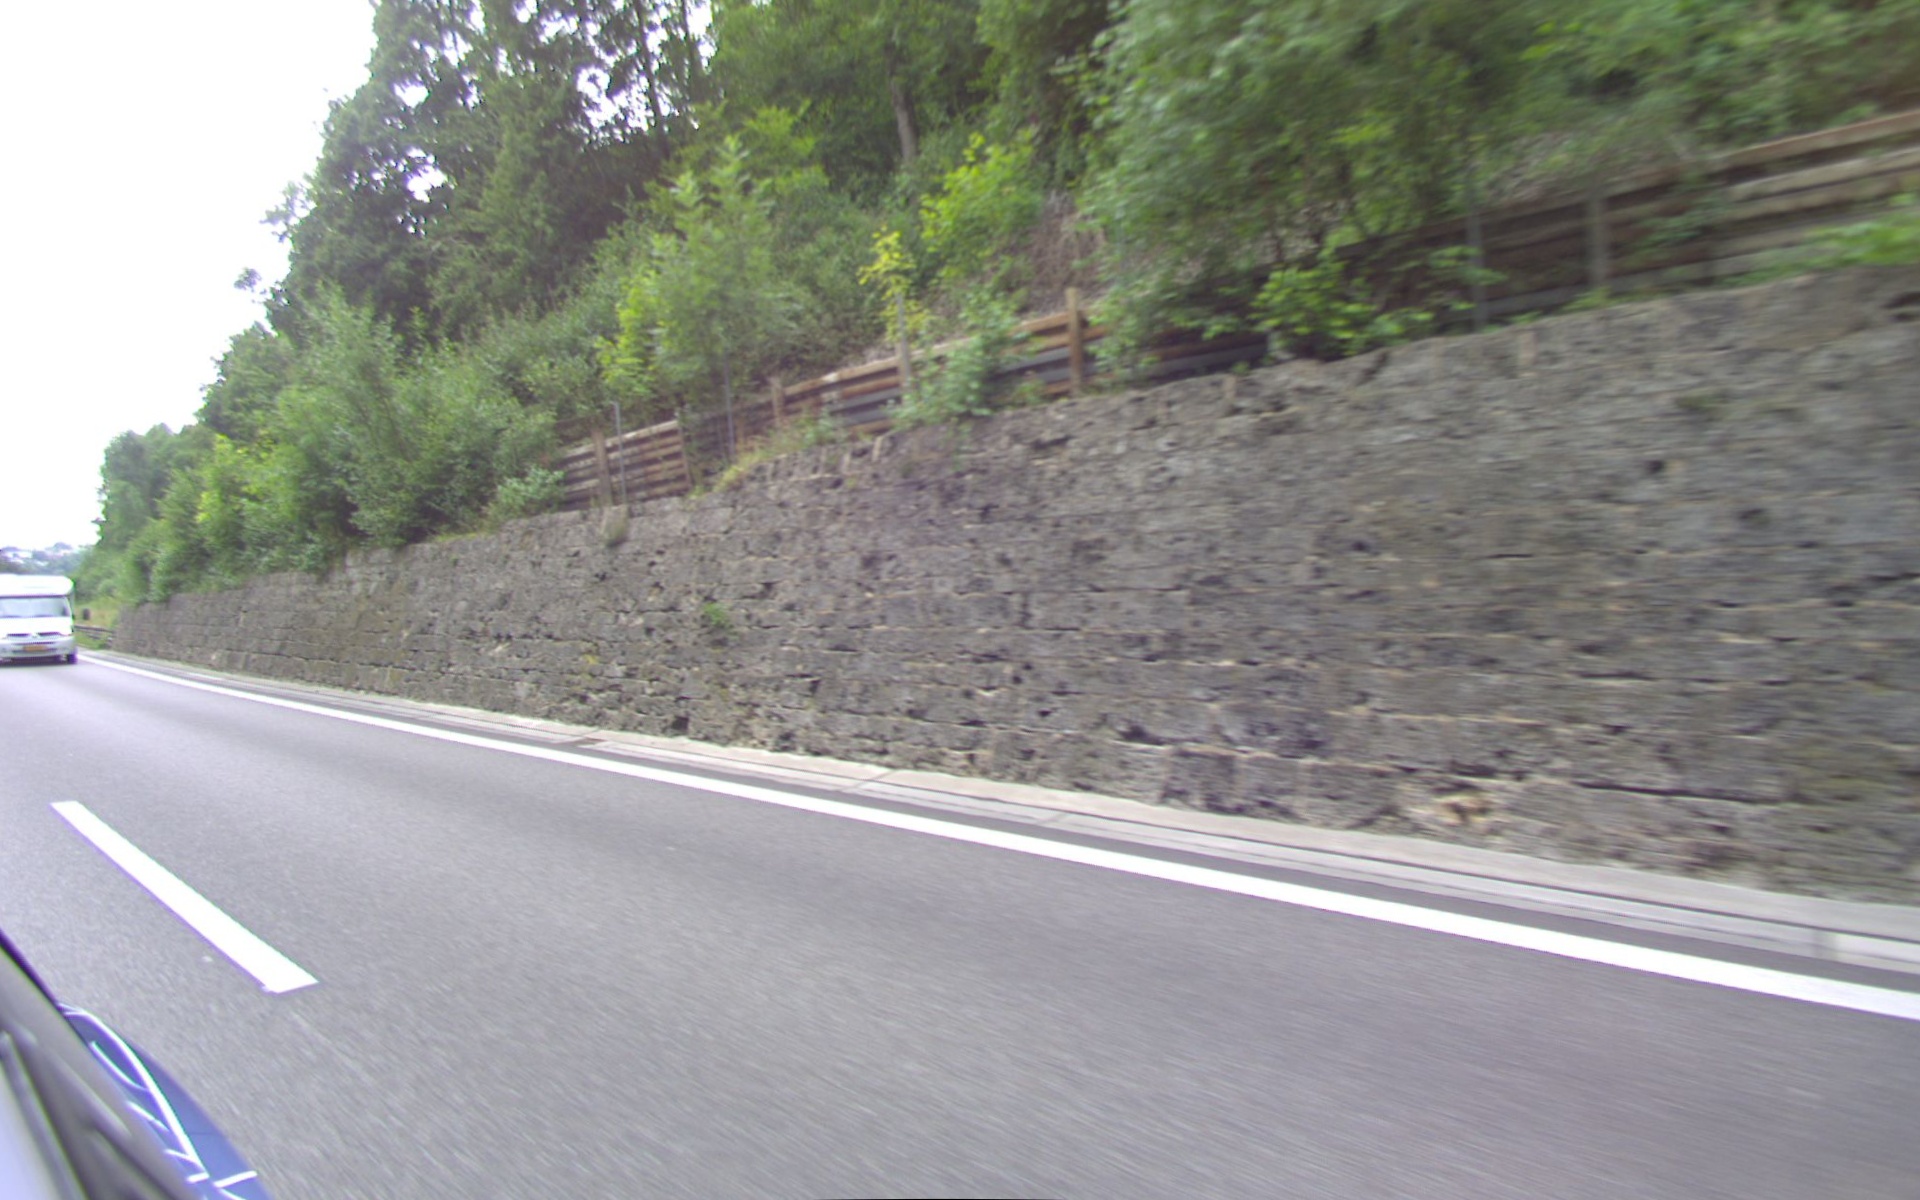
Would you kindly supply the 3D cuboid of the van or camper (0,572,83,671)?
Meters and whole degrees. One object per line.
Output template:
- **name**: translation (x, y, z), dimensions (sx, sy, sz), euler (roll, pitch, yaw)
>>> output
- **van or camper**: translation (-28.953, 0.652, 31.019), dimensions (7.021, 2.756, 2.241), euler (-1, -1, 42)
